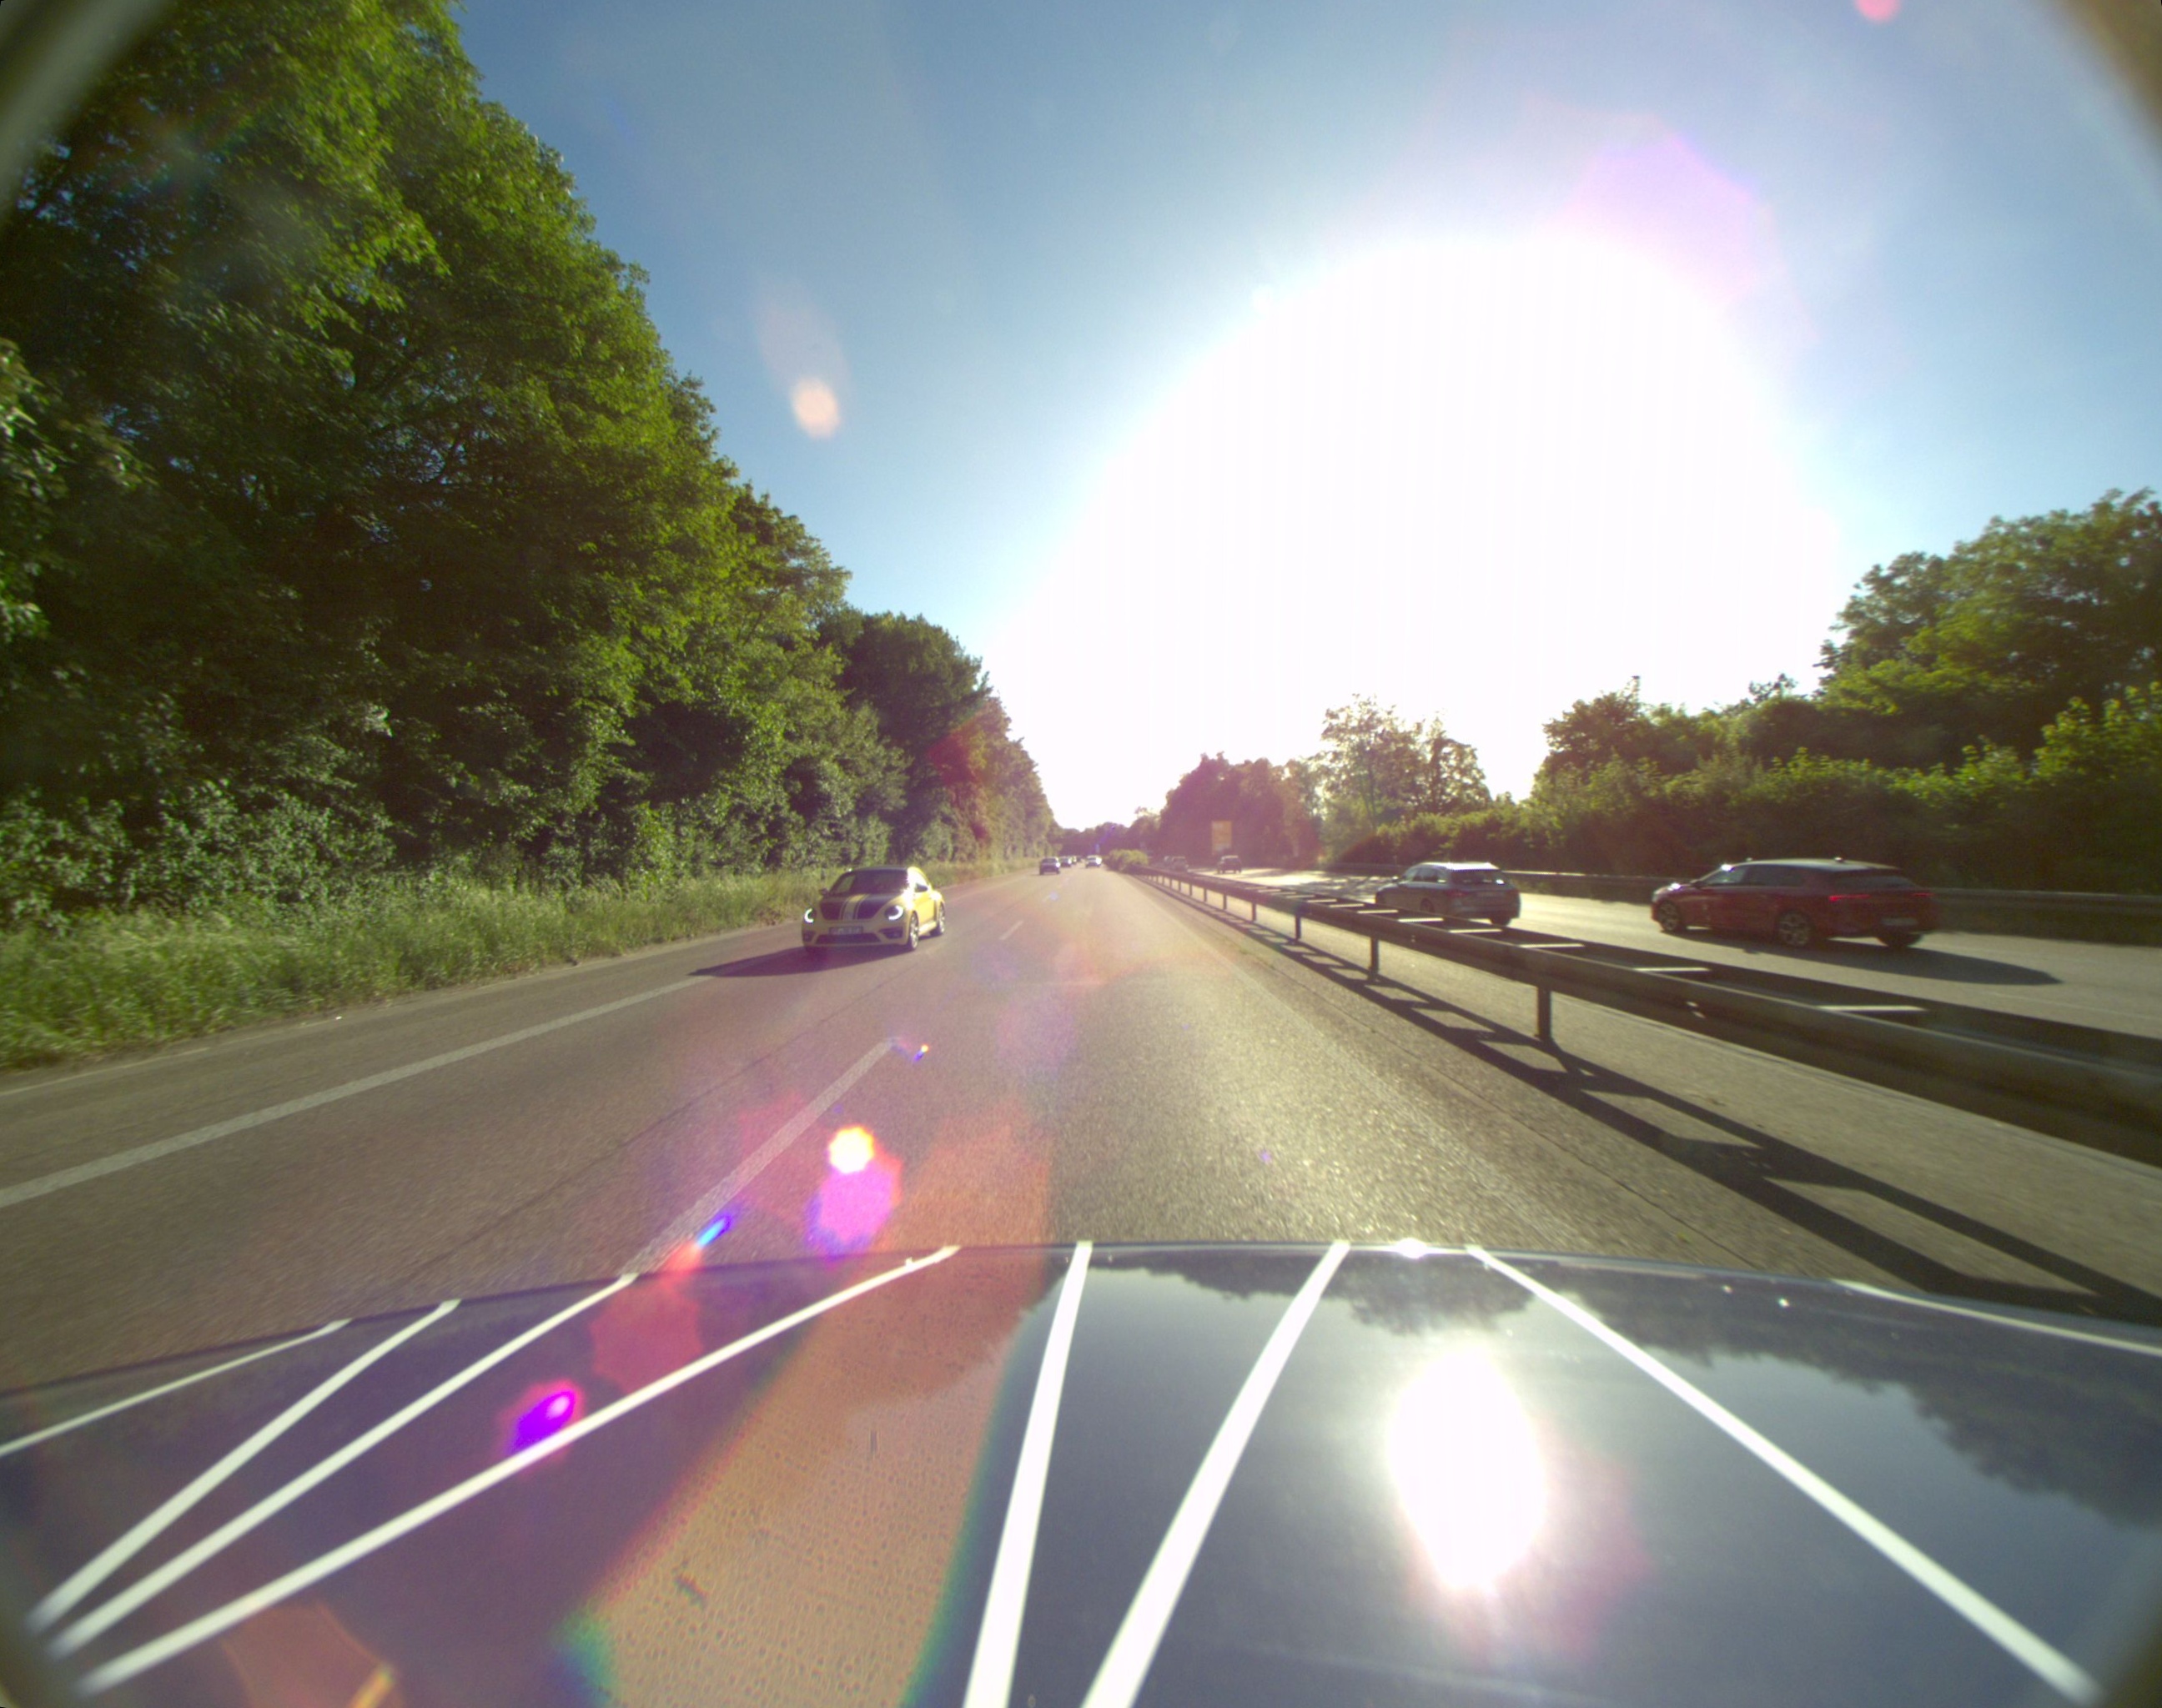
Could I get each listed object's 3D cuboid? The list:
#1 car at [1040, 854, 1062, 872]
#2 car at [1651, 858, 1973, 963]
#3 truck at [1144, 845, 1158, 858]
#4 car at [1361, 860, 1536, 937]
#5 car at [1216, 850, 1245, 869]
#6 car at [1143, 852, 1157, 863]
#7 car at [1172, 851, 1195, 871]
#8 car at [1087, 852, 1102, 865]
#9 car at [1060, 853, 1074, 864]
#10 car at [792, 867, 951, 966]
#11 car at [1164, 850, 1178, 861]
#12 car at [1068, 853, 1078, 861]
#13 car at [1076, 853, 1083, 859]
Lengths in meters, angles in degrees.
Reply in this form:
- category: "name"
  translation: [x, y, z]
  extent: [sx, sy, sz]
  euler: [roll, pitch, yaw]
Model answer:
- category: "car"
  translation: [-2.675, 0.775, 68.591]
  extent: [1.794, 1.440, 3.877]
  euler: [-2, 0, 0]
- category: "car"
  translation: [12.514, 0.862, 13.467]
  extent: [1.752, 1.418, 4.136]
  euler: [-2, 1, 1]
- category: "truck"
  translation: [14.723, -0.489, 160.318]
  extent: [2.167, 2.570, 6.943]
  euler: [-2, 1, 1]
- category: "car"
  translation: [8.609, 0.951, 18.428]
  extent: [1.752, 1.418, 5.204]
  euler: [-2, 1, 1]
- category: "car"
  translation: [13.196, 0.480, 67.176]
  extent: [1.752, 1.486, 3.976]
  euler: [-2, 1, 1]
- category: "car"
  translation: [9.886, 0.522, 109.540]
  extent: [1.642, 1.486, 3.793]
  euler: [-2, 1, 1]
- category: "car"
  translation: [9.642, 0.660, 71.615]
  extent: [1.642, 1.694, 3.793]
  euler: [-2, 1, 1]
- category: "car"
  translation: [1.719, 0.556, 96.090]
  extent: [1.890, 1.440, 3.878]
  euler: [-2, 0, 1]
- category: "car"
  translation: [-1.968, 0.629, 105.646]
  extent: [1.794, 1.440, 3.877]
  euler: [-2, 0, 0]
- category: "car"
  translation: [-3.679, 1.032, 14.070]
  extent: [1.794, 1.440, 3.877]
  euler: [-2, 0, 0]
- category: "car"
  translation: [13.935, 0.262, 117.660]
  extent: [1.642, 1.541, 3.793]
  euler: [-2, 1, 1]
- category: "car"
  translation: [-1.395, 0.544, 134.743]
  extent: [1.794, 1.440, 3.877]
  euler: [-2, 0, 0]
- category: "car"
  translation: [-0.394, 0.404, 190.508]
  extent: [1.794, 1.440, 3.877]
  euler: [-2, 0, 0]
